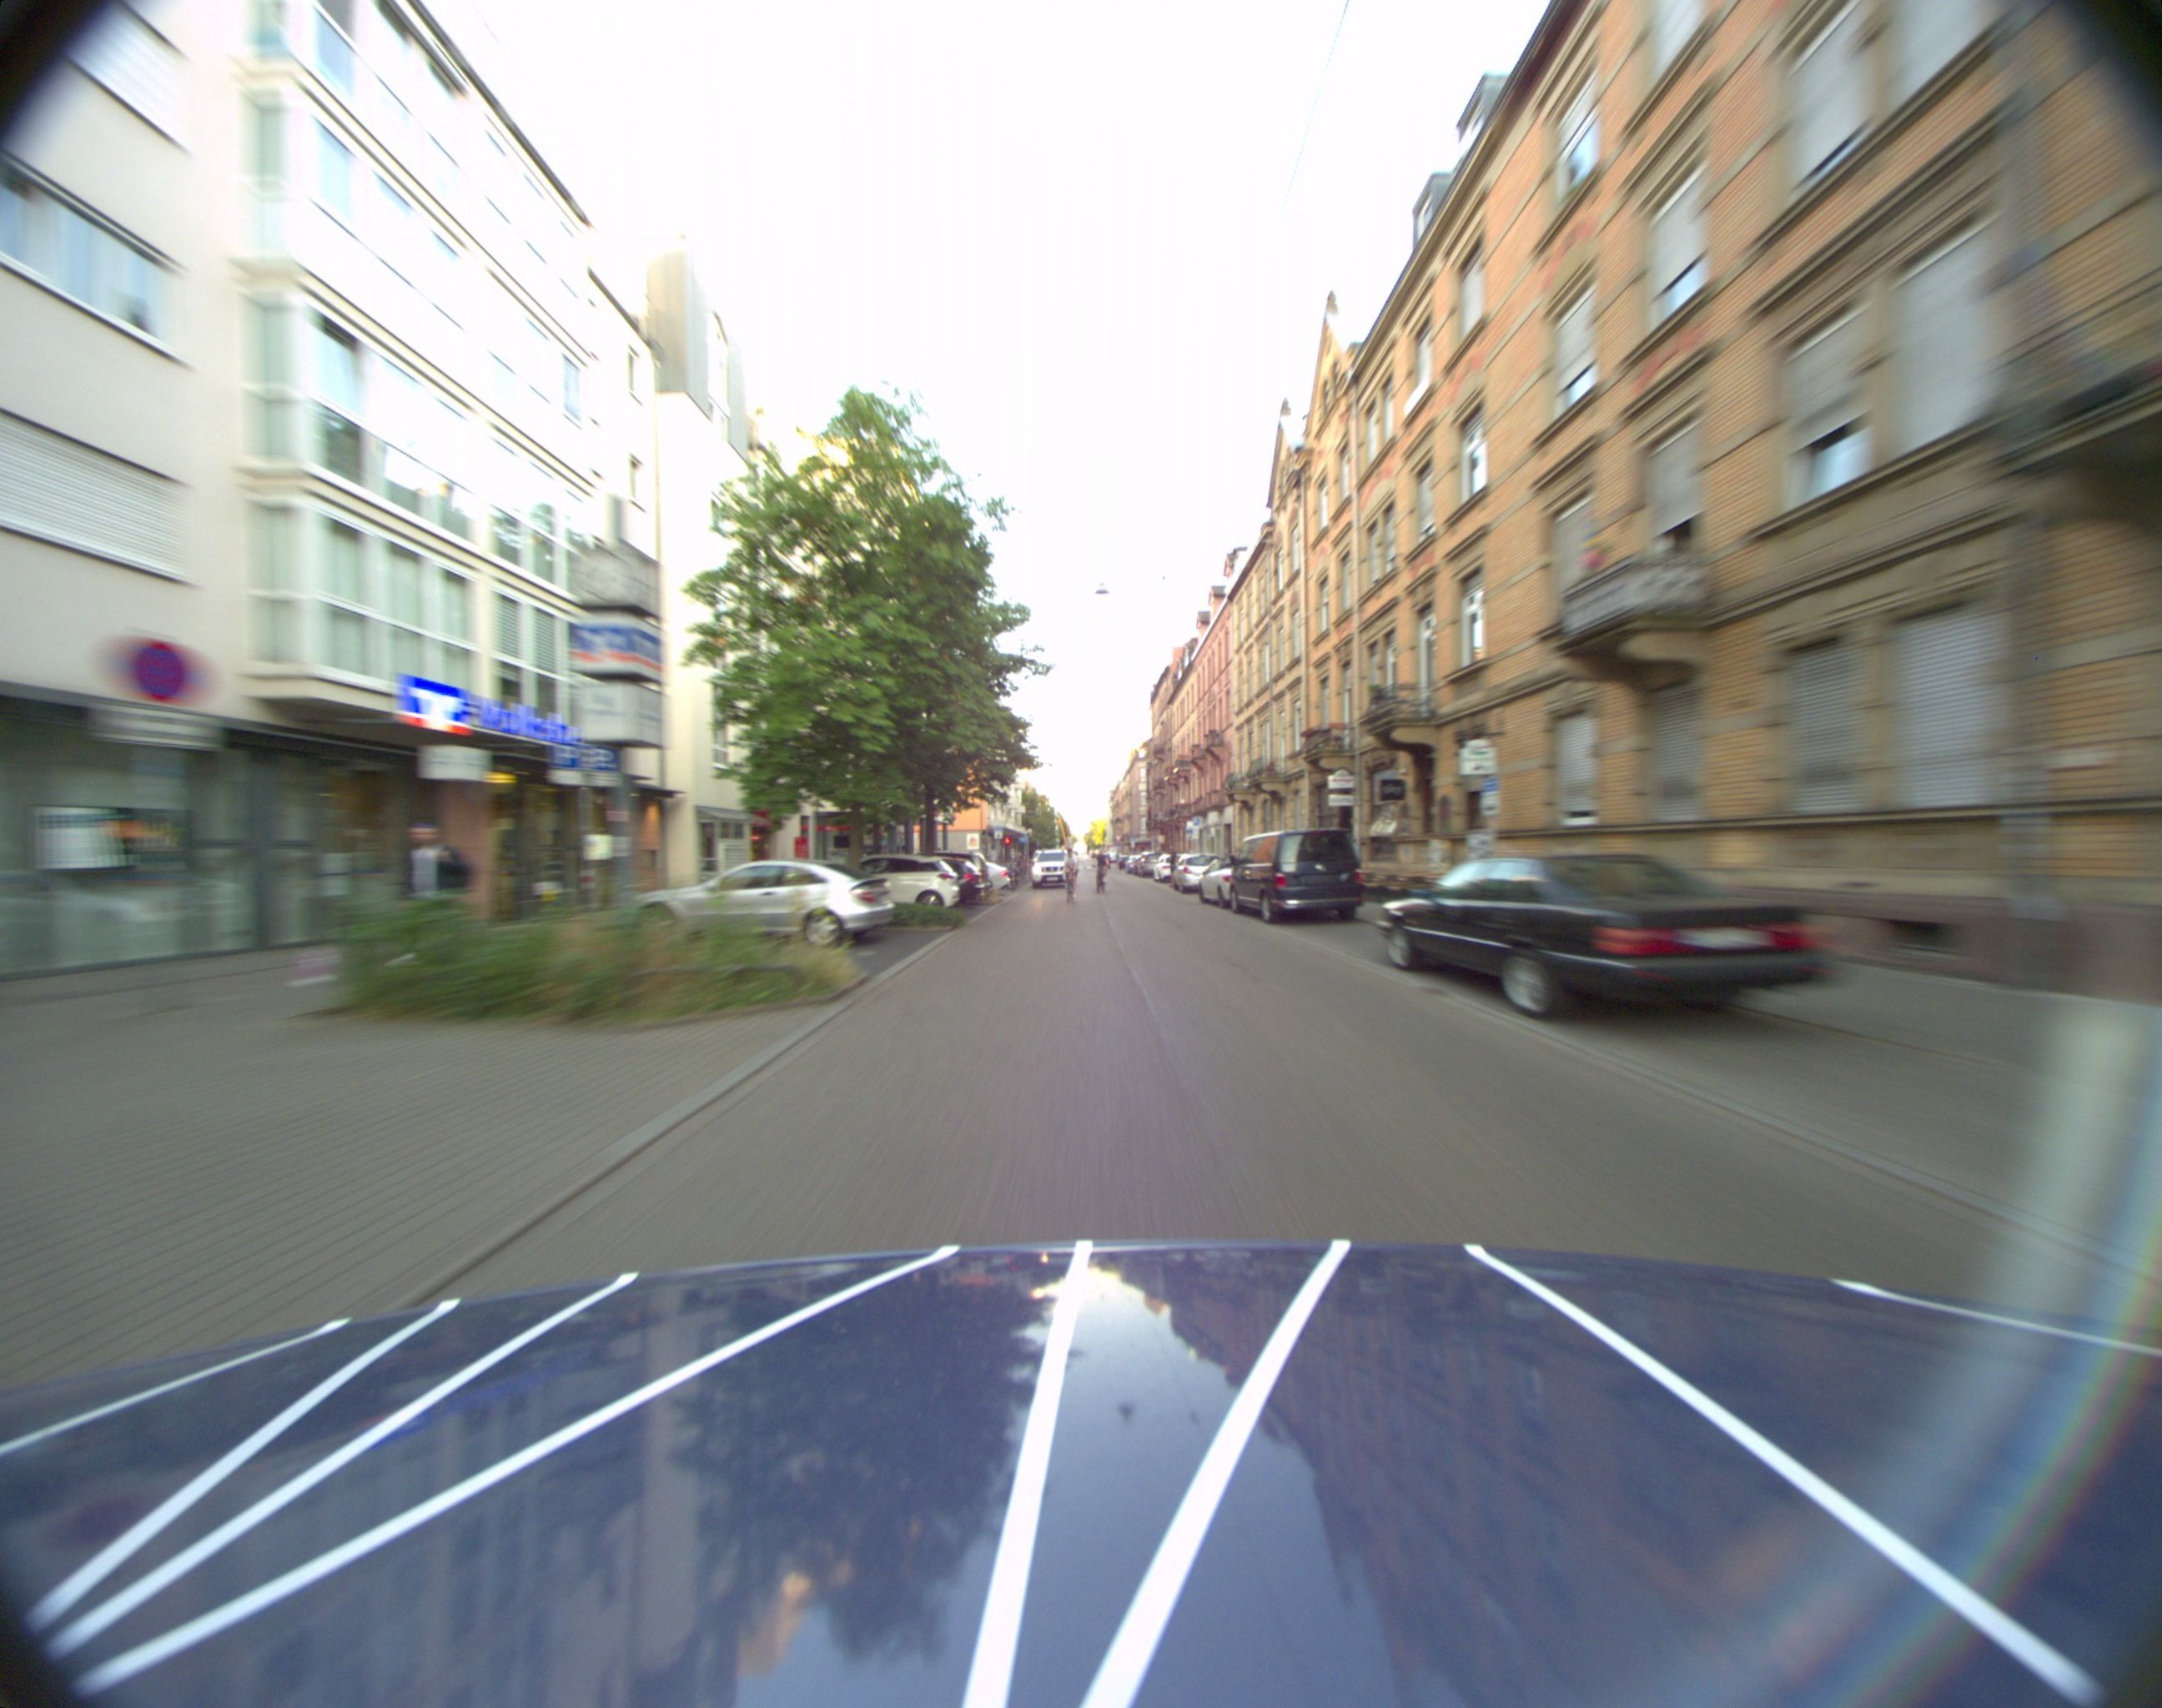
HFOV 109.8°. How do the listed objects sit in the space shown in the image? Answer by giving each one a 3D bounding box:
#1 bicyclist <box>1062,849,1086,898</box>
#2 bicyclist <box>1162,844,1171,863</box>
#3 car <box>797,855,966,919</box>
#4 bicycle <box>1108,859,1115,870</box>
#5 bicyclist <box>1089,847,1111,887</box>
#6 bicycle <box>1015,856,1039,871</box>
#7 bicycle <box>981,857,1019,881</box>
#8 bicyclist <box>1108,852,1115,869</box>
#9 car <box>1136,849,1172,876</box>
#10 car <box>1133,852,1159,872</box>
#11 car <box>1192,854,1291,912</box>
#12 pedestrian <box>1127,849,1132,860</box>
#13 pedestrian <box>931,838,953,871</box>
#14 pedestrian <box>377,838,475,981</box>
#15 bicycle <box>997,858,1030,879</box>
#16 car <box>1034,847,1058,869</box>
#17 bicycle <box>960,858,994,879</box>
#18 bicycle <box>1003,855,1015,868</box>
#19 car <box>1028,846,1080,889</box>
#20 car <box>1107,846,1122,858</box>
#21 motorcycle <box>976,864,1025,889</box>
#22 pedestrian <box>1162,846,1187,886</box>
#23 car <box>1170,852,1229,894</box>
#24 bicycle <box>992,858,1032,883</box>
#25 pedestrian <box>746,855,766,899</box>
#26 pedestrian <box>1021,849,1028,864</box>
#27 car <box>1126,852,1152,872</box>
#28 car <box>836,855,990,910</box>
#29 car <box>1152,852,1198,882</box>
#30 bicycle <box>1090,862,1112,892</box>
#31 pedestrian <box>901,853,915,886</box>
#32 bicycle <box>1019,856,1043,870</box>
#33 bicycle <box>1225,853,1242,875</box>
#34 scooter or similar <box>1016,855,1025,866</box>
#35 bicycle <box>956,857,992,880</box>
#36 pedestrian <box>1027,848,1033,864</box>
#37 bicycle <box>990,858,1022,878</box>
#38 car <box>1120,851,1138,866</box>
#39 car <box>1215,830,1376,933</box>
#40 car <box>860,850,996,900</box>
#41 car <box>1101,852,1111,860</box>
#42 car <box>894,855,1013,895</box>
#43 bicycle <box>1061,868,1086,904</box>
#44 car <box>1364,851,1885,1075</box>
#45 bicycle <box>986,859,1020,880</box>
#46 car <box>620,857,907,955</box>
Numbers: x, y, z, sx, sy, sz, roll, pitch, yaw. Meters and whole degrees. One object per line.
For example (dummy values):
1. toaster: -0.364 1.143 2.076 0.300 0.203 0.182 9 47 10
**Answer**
1. bicyclist: -0.221 0.600 24.312 0.650 1.500 0.953 -2 2 3
2. bicyclist: 7.917 -0.013 69.980 0.709 1.720 0.843 -1 2 12
3. car: -4.887 0.804 19.057 3.805 1.444 1.734 2 0 -5
4. bicycle: 3.006 1.003 74.495 0.646 1.074 2.169 1 0 2
5. bicyclist: 0.765 0.515 30.403 0.794 1.562 0.826 -2 0 0
6. bicycle: -4.275 0.738 59.742 1.939 1.128 0.658 2 1 37
7. bicycle: -4.245 0.779 39.813 1.791 1.175 0.734 3 1 11
8. bicyclist: 2.990 0.629 74.308 0.646 1.611 0.918 1 0 2
9. car: 4.693 0.525 49.368 1.857 1.624 4.446 -2 0 0
10. car: 4.653 0.568 55.130 1.589 1.412 3.696 -2 0 1
11. car: 4.592 0.768 22.386 1.788 1.414 4.484 -3 0 -2
12. pedestrian: 7.960 0.141 124.933 0.654 1.768 0.693 -2 0 18
13. pedestrian: -7.419 0.048 40.564 0.915 1.713 0.774 2 -1 -37
14. pedestrian: -8.248 0.654 9.615 0.731 1.706 0.961 0 1 -27
15. bicycle: -3.771 0.805 42.515 1.727 1.111 0.707 1 1 -2
16. car: -3.316 0.382 72.886 1.963 1.962 5.002 1 0 1
17. bicycle: -5.598 0.770 40.954 1.726 1.111 0.654 1 1 3
18. bicycle: -7.086 0.760 75.043 0.913 1.189 1.709 1 1 -13
19. car: -1.182 0.562 36.316 1.915 1.842 5.271 -1 1 4
20. car: 5.865 -0.338 133.081 2.141 1.947 4.768 -2 0 -1
21. motorcycle: -3.582 0.999 33.671 2.065 1.072 0.663 1 1 -15
22. pedestrian: 4.101 0.526 33.405 1.021 1.745 0.556 -2 2 3
23. car: 4.564 0.687 29.711 1.721 1.449 4.000 -3 0 1
24. bicycle: -3.506 0.832 38.659 1.873 1.175 0.743 3 1 5
25. pedestrian: -13.301 0.935 31.131 0.588 1.743 0.626 -3 2 -32
26. pedestrian: -6.360 0.270 85.116 0.710 1.656 0.744 0 2 0
27. car: 4.649 0.606 61.259 1.727 1.412 4.581 -2 0 0
28. car: -4.681 0.784 21.635 3.998 1.447 1.828 1 0 -2
29. car: 4.773 0.630 39.164 1.762 1.403 4.508 -2 0 0
30. bicycle: 0.780 0.899 30.399 0.794 1.133 2.343 -2 0 0
31. pedestrian: -9.069 0.793 39.824 0.663 1.713 0.664 0 -1 -19
32. bicycle: -3.992 0.710 60.682 1.939 1.128 0.658 2 1 37
33. bicycle: 8.200 0.525 40.807 0.517 1.125 1.730 -2 0 0
34. scooter or similar: -7.078 0.755 88.914 0.536 1.196 1.166 -1 0 27
35. bicycle: -5.437 0.748 38.579 1.727 1.111 0.653 1 1 -3
36. pedestrian: -5.697 0.238 84.879 0.710 1.818 0.860 0 2 0
37. bicycle: -4.273 0.800 43.378 1.726 1.111 0.707 1 1 3
38. car: 4.685 0.401 75.137 1.697 1.412 3.855 -2 0 3
39. car: 4.642 0.530 17.344 1.998 1.912 4.950 -3 0 -2
40. car: -5.315 0.709 26.806 4.410 1.638 1.746 1 0 0
41. car: 5.631 0.501 173.578 2.141 1.811 4.540 -2 0 1
42. car: -4.882 0.808 29.569 4.436 1.447 1.778 1 0 -6
43. bicycle: -0.217 0.995 24.305 0.658 1.012 1.918 -2 1 3
44. car: 4.631 0.741 7.605 1.741 1.410 4.777 -3 1 0
45. bicycle: -4.266 0.827 41.729 1.814 1.111 0.707 1 1 -2
46. car: -5.286 0.825 13.042 4.096 1.444 1.883 2 0 2
